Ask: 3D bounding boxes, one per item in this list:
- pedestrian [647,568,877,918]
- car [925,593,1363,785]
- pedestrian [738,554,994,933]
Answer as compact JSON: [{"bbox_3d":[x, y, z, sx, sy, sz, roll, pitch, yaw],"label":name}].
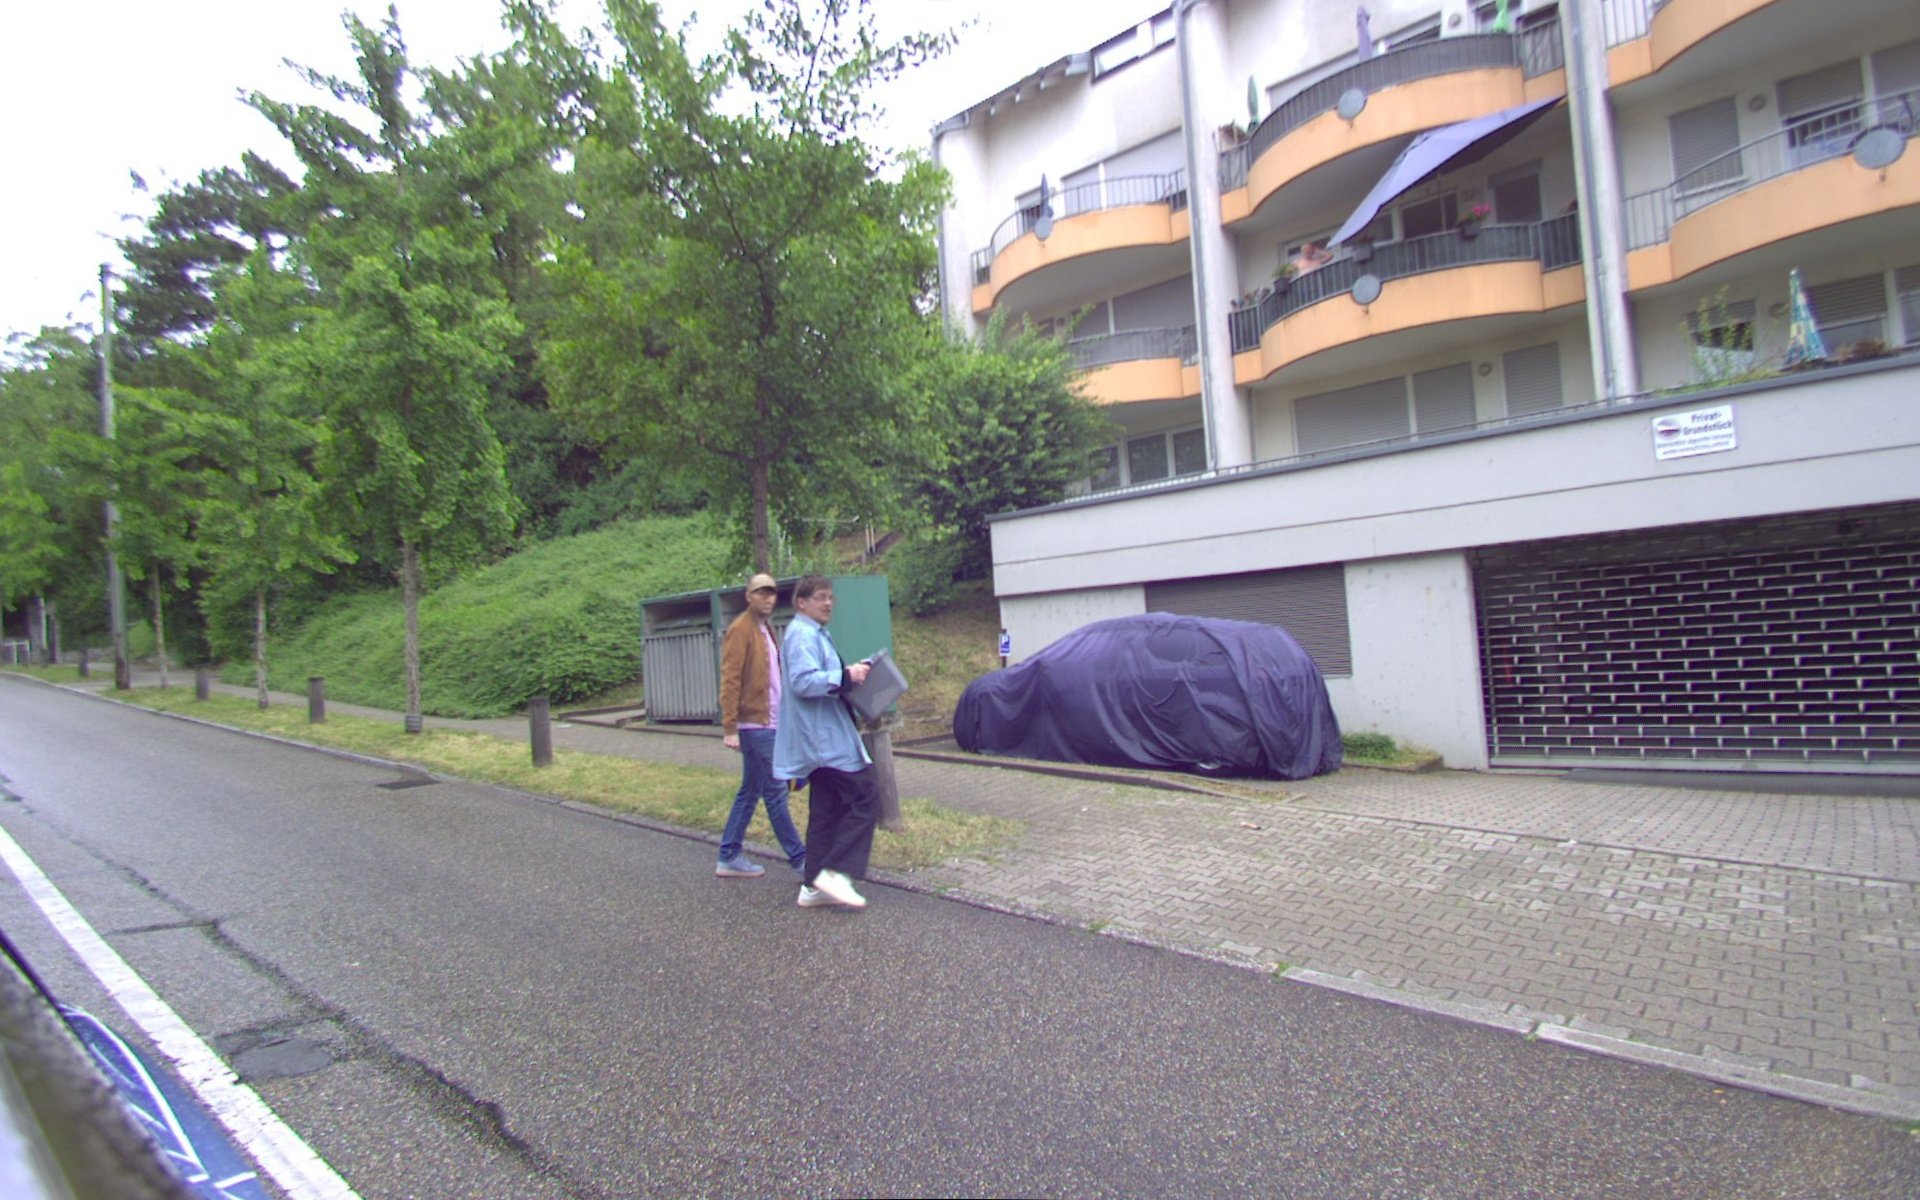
[{"bbox_3d":[-1.168,0.738,5.905,0.812,1.795,1.075,-3,2,-42],"label":"pedestrian"},{"bbox_3d":[1.741,0.828,10.347,4.096,1.573,1.759,-2,-5,41],"label":"car"},{"bbox_3d":[-0.516,0.677,5.470,1.055,1.795,0.827,-3,1,-32],"label":"pedestrian"}]
